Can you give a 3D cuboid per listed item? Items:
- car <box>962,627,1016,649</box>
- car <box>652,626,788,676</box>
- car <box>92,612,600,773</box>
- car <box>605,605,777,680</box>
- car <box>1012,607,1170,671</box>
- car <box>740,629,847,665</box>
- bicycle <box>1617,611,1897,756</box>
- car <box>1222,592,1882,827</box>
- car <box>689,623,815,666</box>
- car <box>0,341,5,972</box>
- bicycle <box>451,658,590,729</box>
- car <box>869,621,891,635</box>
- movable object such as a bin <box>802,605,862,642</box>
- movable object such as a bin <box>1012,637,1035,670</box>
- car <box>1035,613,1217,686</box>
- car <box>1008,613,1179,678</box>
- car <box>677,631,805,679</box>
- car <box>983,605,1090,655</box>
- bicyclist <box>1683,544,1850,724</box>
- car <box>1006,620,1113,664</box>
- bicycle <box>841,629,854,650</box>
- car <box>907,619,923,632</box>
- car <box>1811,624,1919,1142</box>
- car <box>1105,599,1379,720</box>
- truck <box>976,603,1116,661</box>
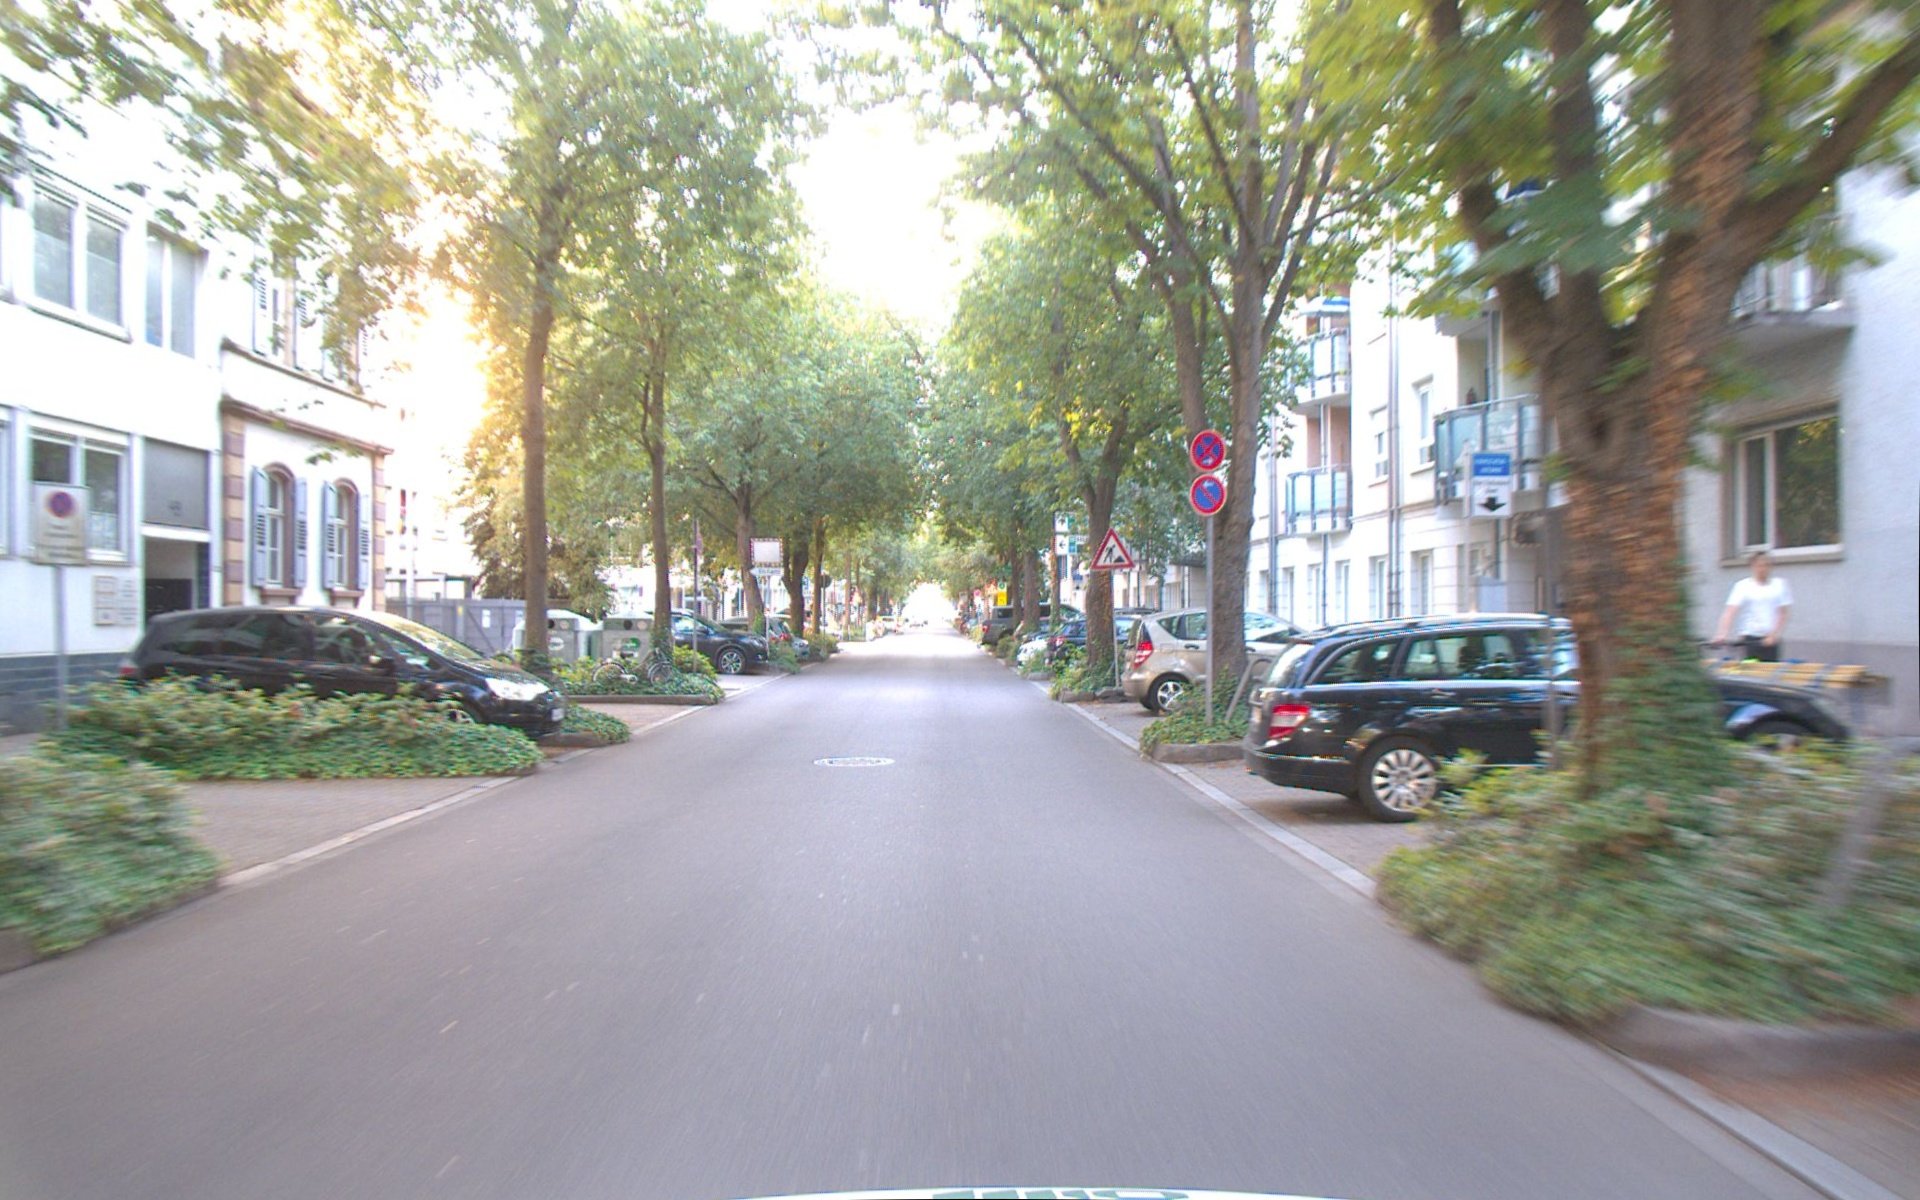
[{"bbox_3d":[2.119,2.756,120.661,3.905,1.613,2.000,0,-1,1],"label":"car"},{"bbox_3d":[-7.263,1.537,50.319,3.907,1.490,1.921,0,-1,-3],"label":"car"},{"bbox_3d":[-6.567,0.974,18.155,4.753,1.650,2.160,0,-1,0],"label":"car"},{"bbox_3d":[-7.265,1.147,45.060,4.415,1.990,1.999,0,-1,-3],"label":"car"},{"bbox_3d":[4.013,1.212,51.271,4.552,1.645,2.008,-4,-1,-5],"label":"car"},{"bbox_3d":[-7.398,2.108,73.861,4.523,1.579,2.075,0,-1,1],"label":"car"},{"bbox_3d":[7.258,0.719,15.351,0.609,1.184,3.396,0,-1,-6],"label":"bicycle"},{"bbox_3d":[4.367,0.805,12.836,4.366,1.452,2.012,-3,-1,3],"label":"car"},{"bbox_3d":[-7.255,1.541,57.996,4.200,1.455,1.879,0,-1,-1],"label":"car"},{"bbox_3d":[-6.415,0.226,5.755,4.902,2.618,2.120,0,-1,-1],"label":"car"},{"bbox_3d":[-5.384,1.137,20.305,1.520,0.845,0.613,0,-1,2],"label":"bicycle"},{"bbox_3d":[-7.588,2.686,156.584,1.955,1.311,3.995,0,-1,-5],"label":"car"},{"bbox_3d":[-8.656,1.574,111.706,3.969,2.425,2.780,0,-1,-7],"label":"movable object such as a bin"},{"bbox_3d":[2.188,1.836,57.085,0.745,1.103,0.785,-2,-1,0],"label":"movable object such as a bin"},{"bbox_3d":[3.970,1.187,40.008,4.006,1.476,1.932,-3,-1,-7],"label":"car"},{"bbox_3d":[3.672,1.256,46.089,4.508,1.494,1.795,-3,-1,-2],"label":"car"},{"bbox_3d":[-7.298,1.828,55.361,3.903,1.593,1.930,0,-1,4],"label":"car"},{"bbox_3d":[3.303,1.289,72.041,4.508,2.102,2.196,-1,-1,-2],"label":"car"},{"bbox_3d":[7.592,0.314,15.625,0.951,1.632,1.135,0,-1,-5],"label":"bicyclist"},{"bbox_3d":[3.576,1.508,59.679,3.700,1.571,1.876,0,-1,-3],"label":"car"},{"bbox_3d":[-6.625,2.328,97.223,0.670,1.173,1.978,0,-1,-6],"label":"bicycle"},{"bbox_3d":[-5.522,3.144,202.924,1.969,1.641,4.117,0,-1,-2],"label":"car"},{"bbox_3d":[4.893,0.655,4.000,4.582,1.412,2.000,-3,-1,0],"label":"car"},{"bbox_3d":[4.353,0.915,25.971,3.889,1.613,1.915,-3,-1,-2],"label":"car"},{"bbox_3d":[3.561,1.333,69.303,5.767,2.351,2.212,0,-1,-1],"label":"truck"}]
